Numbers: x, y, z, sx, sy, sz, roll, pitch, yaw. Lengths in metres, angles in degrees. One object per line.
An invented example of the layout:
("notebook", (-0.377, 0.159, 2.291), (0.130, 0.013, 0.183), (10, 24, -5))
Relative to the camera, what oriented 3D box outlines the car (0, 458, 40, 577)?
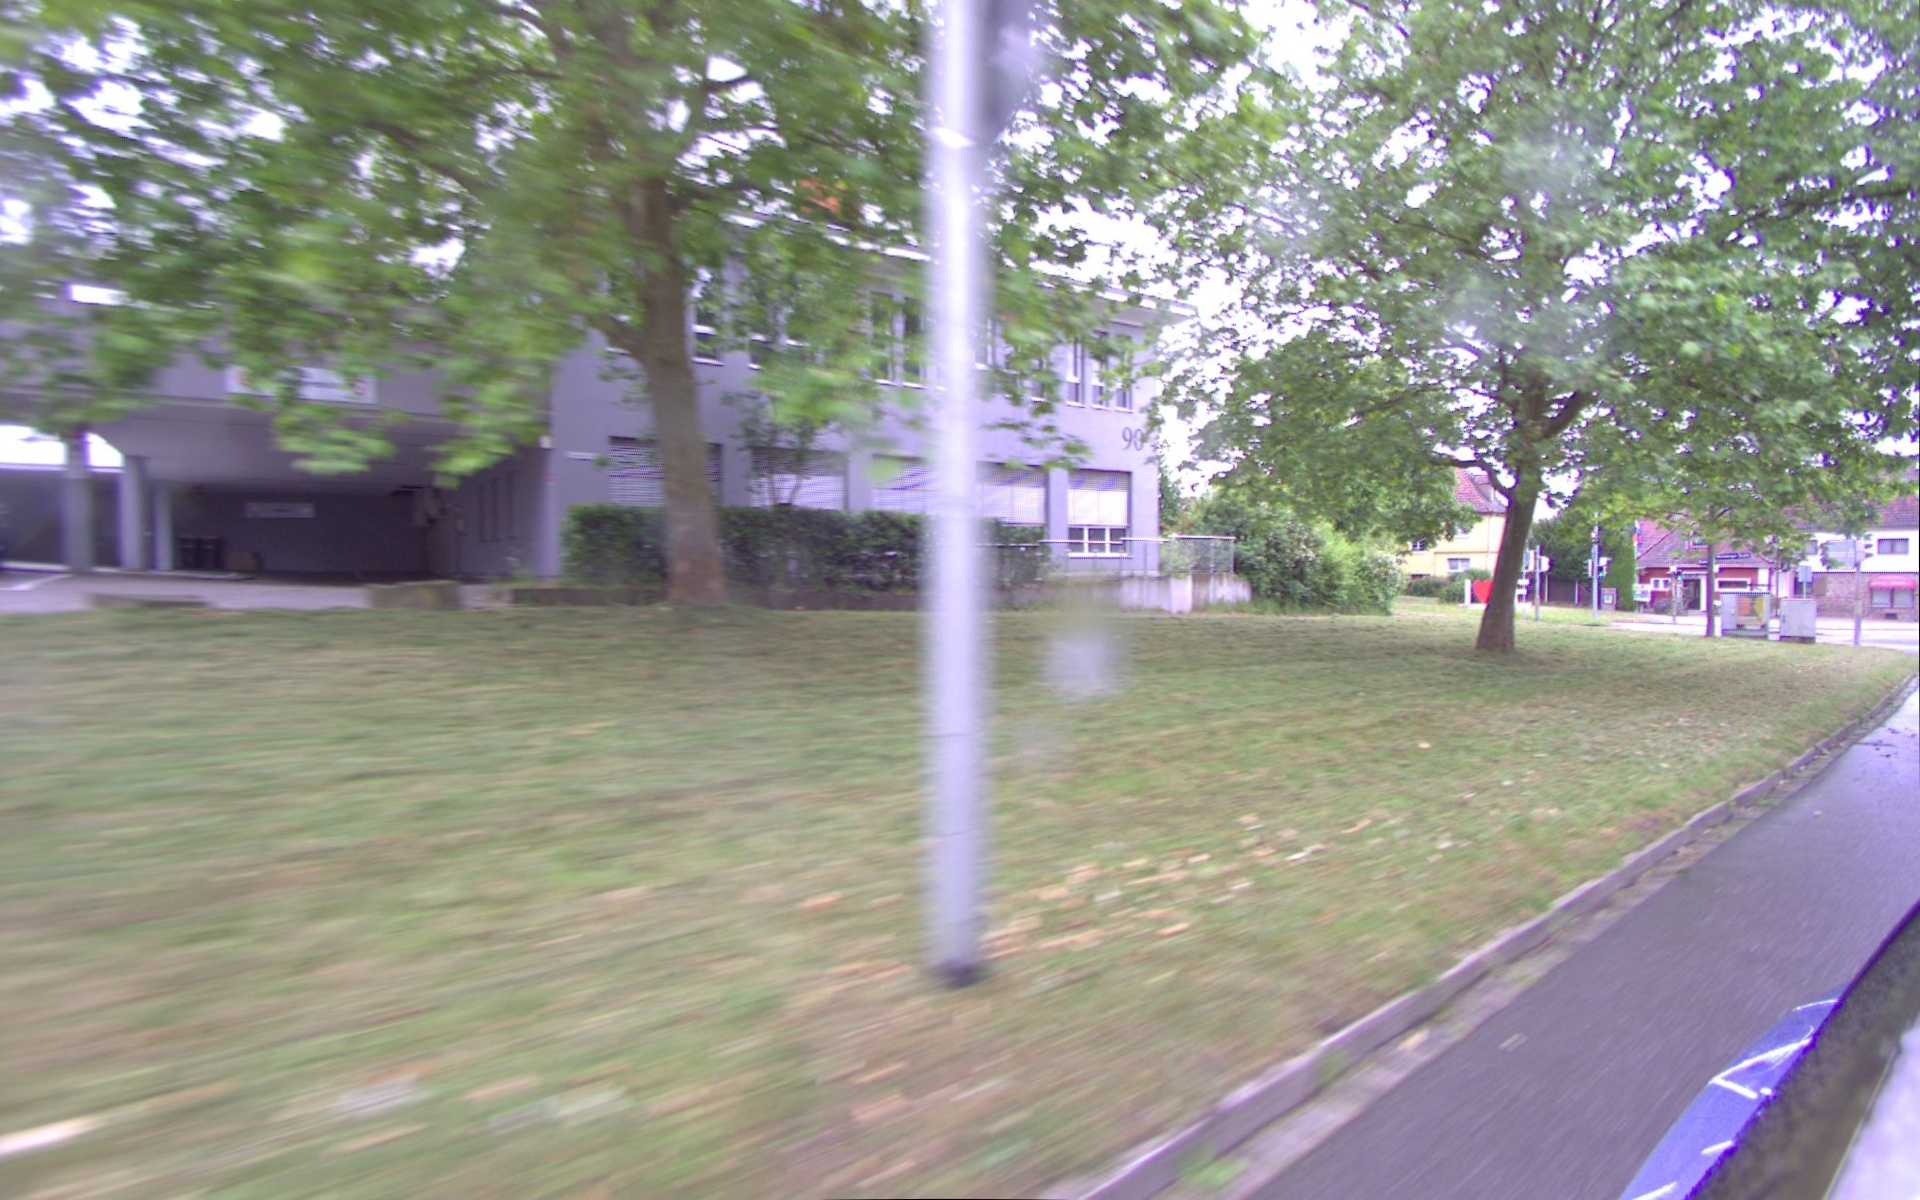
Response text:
("car", (-14.581, -1.167, 14.133), (1.961, 1.660, 4.002), (0, 1, -34))
